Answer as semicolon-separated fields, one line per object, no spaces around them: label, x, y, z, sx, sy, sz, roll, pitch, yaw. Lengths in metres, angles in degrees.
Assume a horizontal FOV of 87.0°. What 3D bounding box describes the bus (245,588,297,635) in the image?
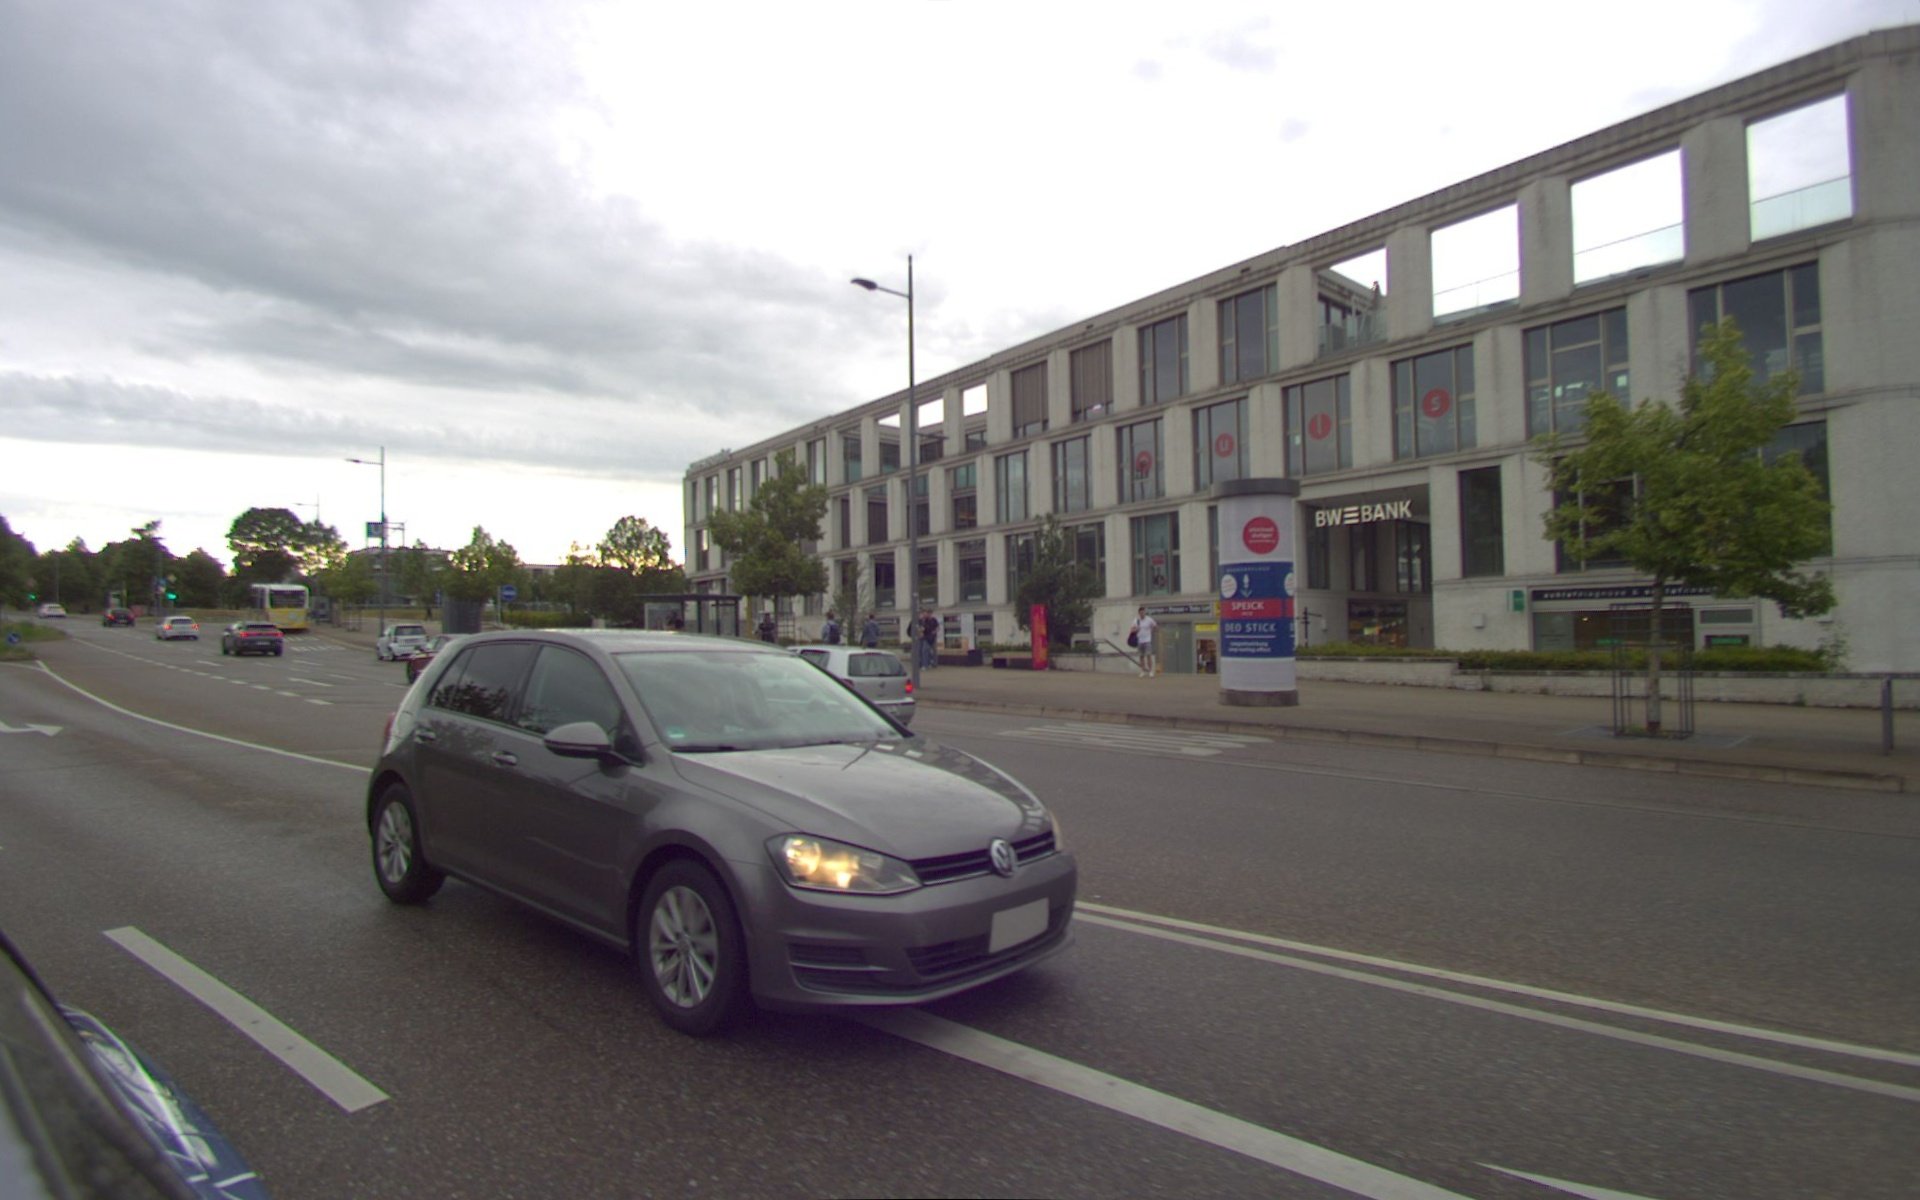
bus;-54.564;0.792;80.052;2.785;3.498;9.995;-1;1;-38

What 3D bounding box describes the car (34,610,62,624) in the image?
car;-95.540;1.778;106.021;4.515;1.429;1.971;0;-1;45

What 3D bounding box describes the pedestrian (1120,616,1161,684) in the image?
pedestrian;4.596;1.249;25.755;0.911;1.703;0.494;-1;-1;28

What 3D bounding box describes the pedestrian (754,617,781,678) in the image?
pedestrian;-6.050;1.483;31.823;0.607;1.870;0.574;-1;-2;42

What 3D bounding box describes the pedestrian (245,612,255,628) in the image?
pedestrian;-71.558;1.983;101.977;0.812;1.606;0.608;-3;-2;40

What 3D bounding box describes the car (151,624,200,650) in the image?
car;-49.315;2.305;63.599;4.178;1.441;1.852;0;-4;45

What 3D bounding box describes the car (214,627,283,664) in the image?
car;-33.553;2.113;47.698;4.596;1.584;1.811;0;-4;45

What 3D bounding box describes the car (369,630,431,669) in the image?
car;-24.434;2.123;44.143;2.974;1.519;1.595;0;0;45

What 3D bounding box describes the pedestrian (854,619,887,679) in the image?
pedestrian;-2.699;1.478;30.630;0.591;1.775;0.858;1;-2;-43

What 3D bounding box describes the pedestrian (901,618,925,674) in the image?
pedestrian;-1.469;1.435;31.905;0.518;1.738;0.567;1;-2;-43

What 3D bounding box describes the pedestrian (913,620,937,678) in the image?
pedestrian;-1.070;1.476;30.900;0.421;1.738;0.621;1;-2;-45

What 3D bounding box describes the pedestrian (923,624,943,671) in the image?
pedestrian;-0.857;1.497;32.054;0.421;1.462;0.510;1;-2;-45

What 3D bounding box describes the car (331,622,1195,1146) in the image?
car;-1.198;0.860;4.848;4.193;1.441;1.787;-1;-4;39

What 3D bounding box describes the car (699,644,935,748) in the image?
car;-2.373;1.452;16.201;3.880;1.427;1.742;-2;-5;45

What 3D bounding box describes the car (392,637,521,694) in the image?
car;-13.938;1.769;27.913;4.467;1.427;1.811;-2;-5;45

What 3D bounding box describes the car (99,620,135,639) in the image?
car;-68.161;2.401;81.822;3.869;1.473;1.825;0;-2;45

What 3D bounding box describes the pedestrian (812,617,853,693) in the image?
pedestrian;-3.219;1.369;25.507;0.744;1.856;0.747;1;-2;-43

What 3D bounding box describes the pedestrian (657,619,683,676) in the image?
pedestrian;-9.509;1.538;33.181;0.756;1.856;0.501;-1;-2;44

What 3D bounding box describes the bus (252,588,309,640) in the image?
bus;-48.955;0.903;72.829;2.785;3.498;8.248;-1;1;-38
